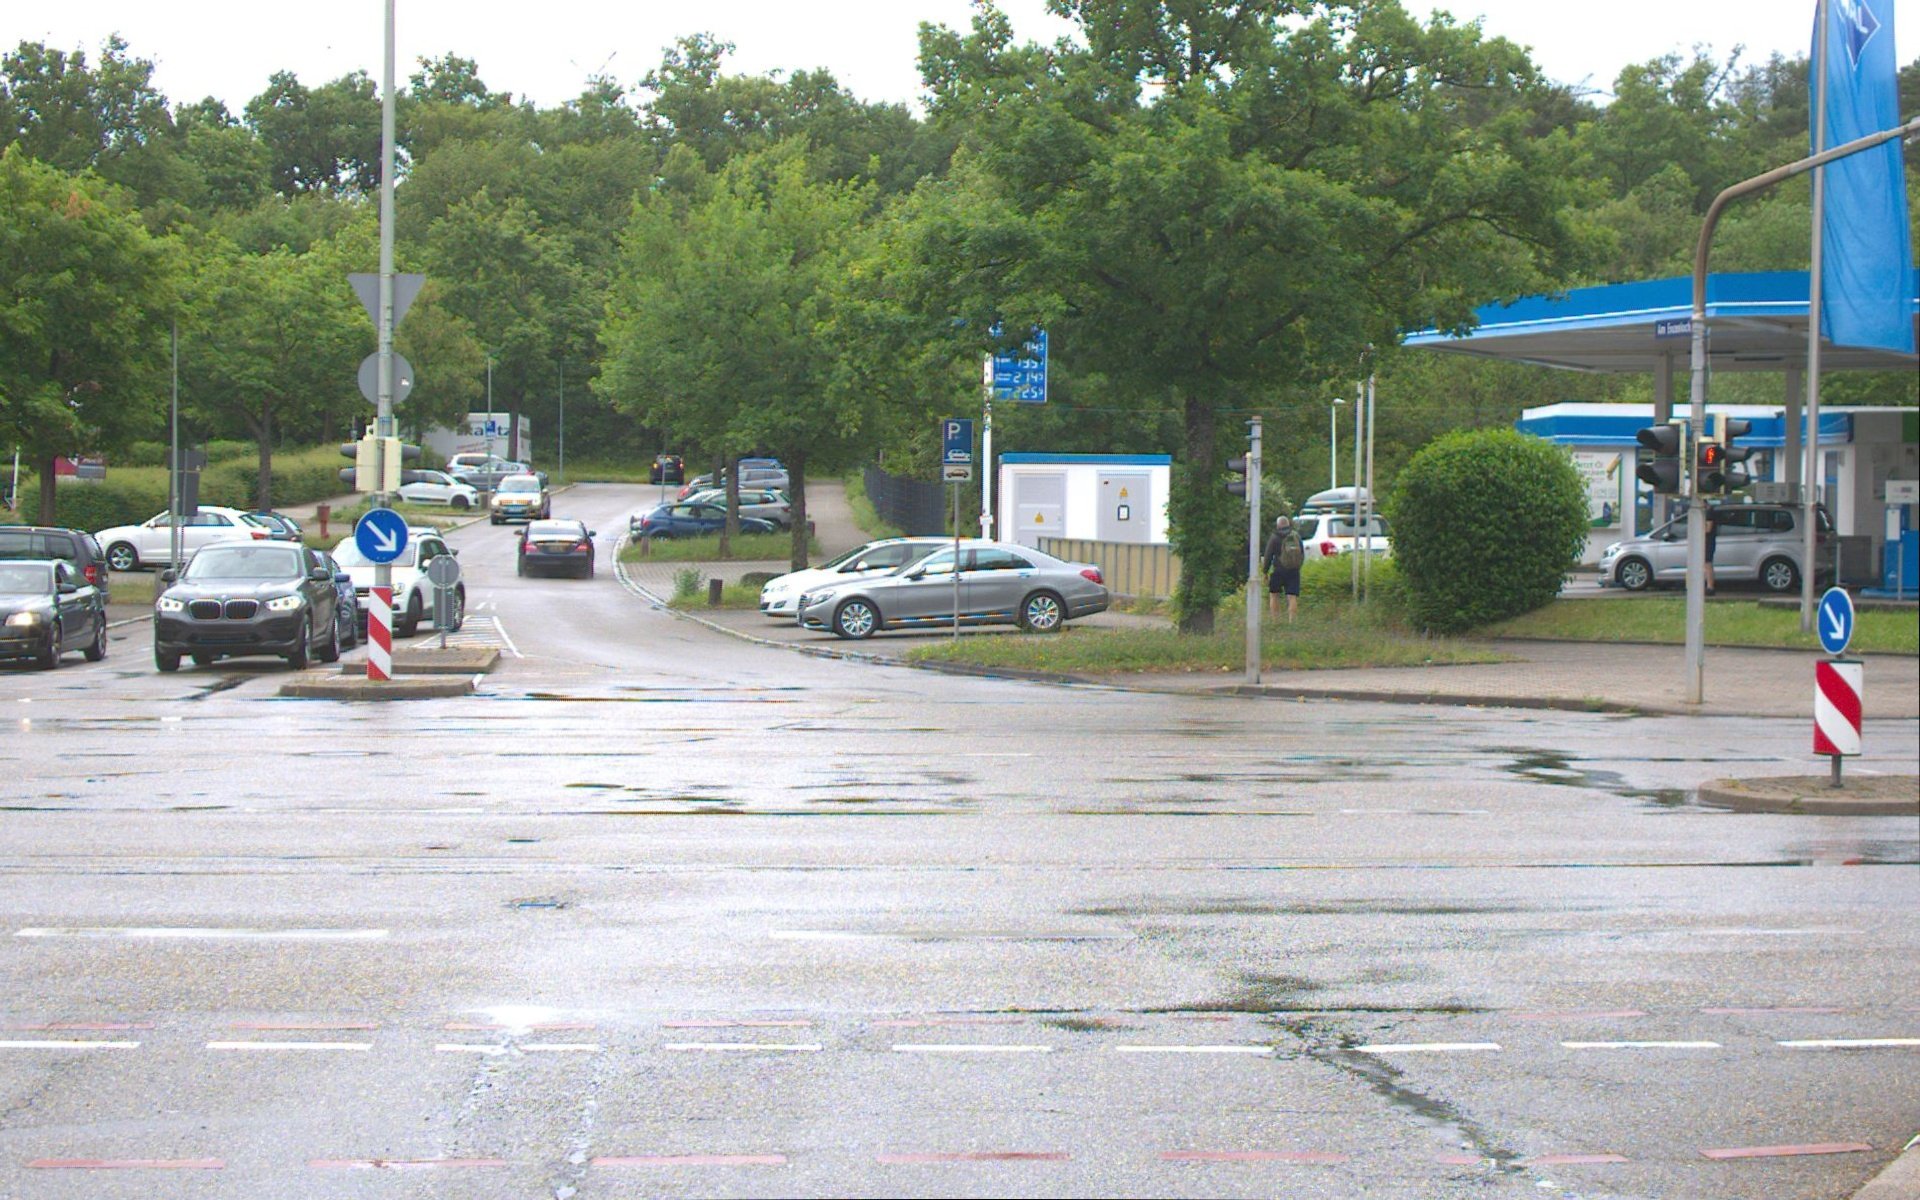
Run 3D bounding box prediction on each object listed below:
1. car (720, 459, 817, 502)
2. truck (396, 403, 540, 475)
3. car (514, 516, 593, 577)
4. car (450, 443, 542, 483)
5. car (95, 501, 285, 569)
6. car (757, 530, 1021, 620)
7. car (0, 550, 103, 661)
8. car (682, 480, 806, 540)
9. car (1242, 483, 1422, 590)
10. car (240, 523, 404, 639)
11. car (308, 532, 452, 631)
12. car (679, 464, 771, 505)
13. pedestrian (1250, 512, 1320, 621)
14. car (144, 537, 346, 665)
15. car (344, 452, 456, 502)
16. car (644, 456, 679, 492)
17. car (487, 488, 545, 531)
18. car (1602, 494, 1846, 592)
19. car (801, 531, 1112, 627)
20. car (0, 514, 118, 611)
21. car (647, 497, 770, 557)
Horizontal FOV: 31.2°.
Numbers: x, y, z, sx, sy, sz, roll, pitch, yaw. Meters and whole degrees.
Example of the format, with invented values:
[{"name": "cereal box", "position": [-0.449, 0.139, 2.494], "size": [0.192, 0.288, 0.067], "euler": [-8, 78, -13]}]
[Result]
[{"name": "car", "position": [-8.054, -5.006, 144.300], "size": [3.986, 1.733, 1.811], "euler": [0, 1, -6]}, {"name": "truck", "position": [-27.132, -8.880, 189.764], "size": [7.369, 3.847, 2.777], "euler": [0, 1, 8]}, {"name": "car", "position": [-9.995, -1.310, 84.692], "size": [1.807, 1.477, 3.752], "euler": [0, 1, -5]}, {"name": "car", "position": [-21.099, -6.238, 156.494], "size": [3.986, 1.788, 1.856], "euler": [0, 0, -2]}, {"name": "car", "position": [-18.604, -1.571, 83.204], "size": [4.271, 1.604, 1.685], "euler": [0, 1, -3]}, {"name": "car", "position": [-1.300, -0.451, 61.751], "size": [4.571, 1.583, 1.930], "euler": [0, 1, -7]}, {"name": "car", "position": [-12.551, 0.042, 45.225], "size": [1.782, 1.399, 4.001], "euler": [0, 1, -4]}, {"name": "car", "position": [-6.574, -2.724, 104.294], "size": [3.697, 1.744, 1.697], "euler": [1, 0, -5]}, {"name": "car", "position": [6.492, -1.108, 60.348], "size": [1.808, 1.791, 3.701], "euler": [1, 1, -17]}, {"name": "car", "position": [-9.268, -0.280, 50.248], "size": [1.795, 1.627, 4.552], "euler": [0, 0, -3]}, {"name": "car", "position": [-9.353, -0.313, 55.690], "size": [1.895, 1.548, 4.001], "euler": [0, 1, -4]}, {"name": "car", "position": [-10.401, -5.106, 151.729], "size": [3.986, 1.733, 1.811], "euler": [0, 1, -6]}, {"name": "pedestrian", "position": [4.953, -0.511, 52.385], "size": [0.808, 1.656, 0.887], "euler": [0, 0, -14]}, {"name": "car", "position": [-9.090, -0.019, 44.026], "size": [1.895, 1.548, 4.593], "euler": [0, 1, -4]}, {"name": "car", "position": [-20.486, -4.494, 125.886], "size": [3.986, 1.788, 1.857], "euler": [0, 0, -7]}, {"name": "car", "position": [-15.664, -6.609, 180.621], "size": [1.804, 1.733, 4.001], "euler": [0, 1, -5]}, {"name": "car", "position": [-15.651, -3.193, 121.263], "size": [1.697, 1.451, 3.673], "euler": [0, 0, -2]}, {"name": "car", "position": [14.424, -1.080, 64.905], "size": [4.121, 1.801, 1.943], "euler": [0, 1, 29]}, {"name": "car", "position": [-0.087, -0.347, 56.477], "size": [4.885, 1.543, 2.000], "euler": [0, 1, -7]}, {"name": "car", "position": [-17.162, -0.674, 62.027], "size": [3.648, 1.718, 1.685], "euler": [0, 1, -7]}, {"name": "car", "position": [-7.165, -2.061, 97.782], "size": [3.459, 1.649, 1.616], "euler": [1, 0, -5]}]
